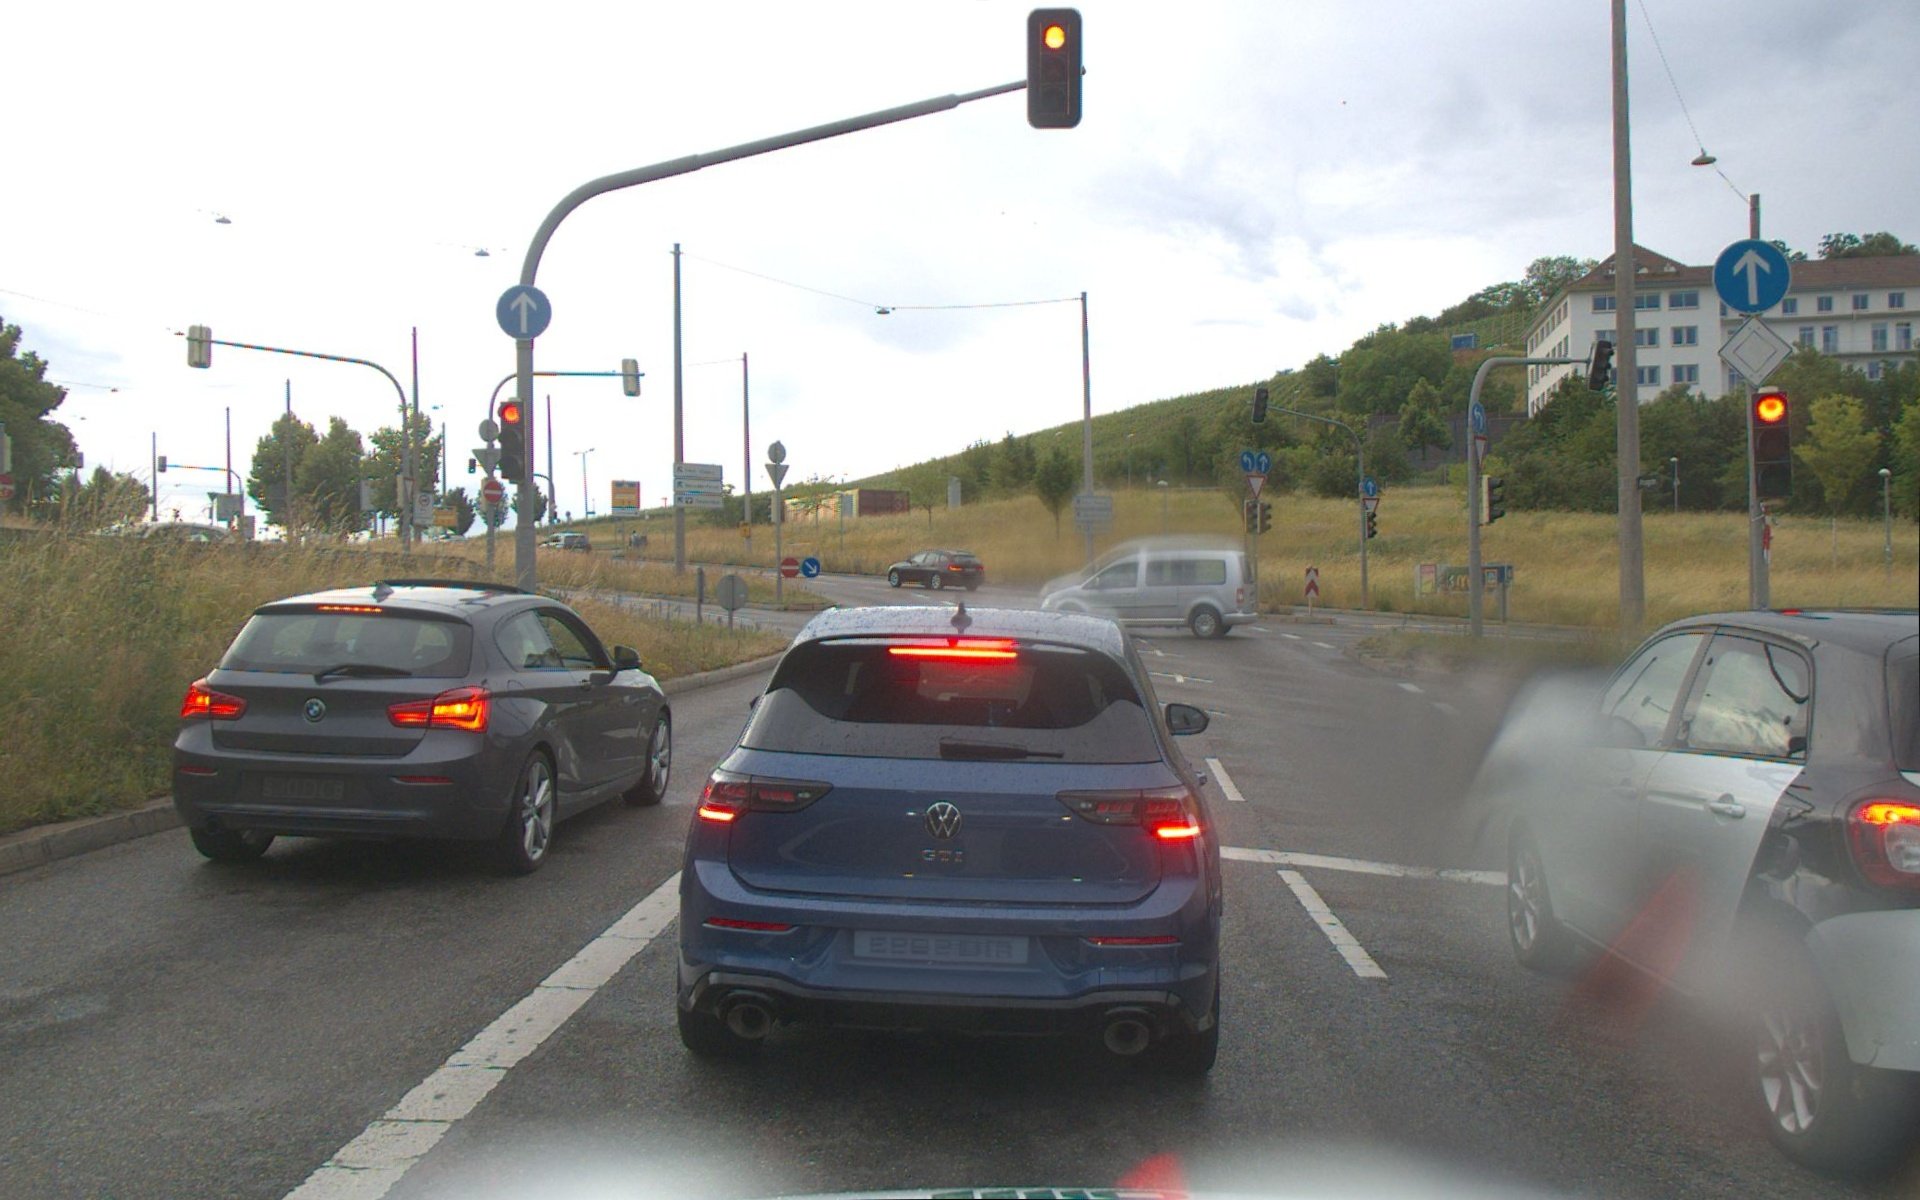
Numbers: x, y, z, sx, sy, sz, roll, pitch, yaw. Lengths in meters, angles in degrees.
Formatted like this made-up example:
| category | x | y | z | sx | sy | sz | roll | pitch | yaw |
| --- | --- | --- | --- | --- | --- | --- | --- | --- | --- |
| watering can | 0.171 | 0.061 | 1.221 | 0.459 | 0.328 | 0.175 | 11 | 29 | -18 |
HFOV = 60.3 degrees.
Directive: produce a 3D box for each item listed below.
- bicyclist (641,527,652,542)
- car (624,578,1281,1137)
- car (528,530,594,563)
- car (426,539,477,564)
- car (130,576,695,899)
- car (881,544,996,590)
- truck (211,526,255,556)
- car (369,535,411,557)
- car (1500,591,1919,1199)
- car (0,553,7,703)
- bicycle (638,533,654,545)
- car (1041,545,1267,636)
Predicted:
| category | x | y | z | sx | sy | sz | roll | pitch | yaw |
| --- | --- | --- | --- | --- | --- | --- | --- | --- | --- |
| bicyclist | -22.314 | -4.666 | 117.631 | 0.518 | 1.065 | 0.574 | 4 | 0 | -34 |
| car | 0.116 | 0.688 | 6.417 | 1.786 | 1.486 | 3.810 | 1 | 0 | 4 |
| car | -22.051 | -2.932 | 91.280 | 1.979 | 1.665 | 4.362 | 1 | -1 | -37 |
| car | -34.409 | -3.254 | 111.832 | 1.978 | 1.503 | 4.446 | 1 | -1 | -36 |
| car | -2.877 | 0.614 | 9.716 | 1.667 | 1.485 | 4.117 | 0 | 0 | 5 |
| car | -0.867 | -1.265 | 62.731 | 1.978 | 1.646 | 4.790 | 1 | 1 | -36 |
| truck | -82.921 | -6.729 | 188.578 | 3.234 | 3.128 | 6.096 | 4 | 0 | -37 |
| car | -44.287 | -4.195 | 128.459 | 1.977 | 1.503 | 4.366 | 1 | -1 | -35 |
| car | 3.164 | 0.773 | 5.704 | 1.623 | 1.529 | 3.452 | 1 | -1 | 3 |
| car | -3.094 | 0.627 | 1.974 | 1.608 | 1.530 | 3.779 | 3 | 0 | 1 |
| bicycle | -22.380 | -4.317 | 117.694 | 0.513 | 0.788 | 1.602 | 3 | 0 | -33 |
| car | 4.237 | -0.204 | 36.115 | 4.586 | 1.882 | 1.822 | 1 | -1 | 21 |
